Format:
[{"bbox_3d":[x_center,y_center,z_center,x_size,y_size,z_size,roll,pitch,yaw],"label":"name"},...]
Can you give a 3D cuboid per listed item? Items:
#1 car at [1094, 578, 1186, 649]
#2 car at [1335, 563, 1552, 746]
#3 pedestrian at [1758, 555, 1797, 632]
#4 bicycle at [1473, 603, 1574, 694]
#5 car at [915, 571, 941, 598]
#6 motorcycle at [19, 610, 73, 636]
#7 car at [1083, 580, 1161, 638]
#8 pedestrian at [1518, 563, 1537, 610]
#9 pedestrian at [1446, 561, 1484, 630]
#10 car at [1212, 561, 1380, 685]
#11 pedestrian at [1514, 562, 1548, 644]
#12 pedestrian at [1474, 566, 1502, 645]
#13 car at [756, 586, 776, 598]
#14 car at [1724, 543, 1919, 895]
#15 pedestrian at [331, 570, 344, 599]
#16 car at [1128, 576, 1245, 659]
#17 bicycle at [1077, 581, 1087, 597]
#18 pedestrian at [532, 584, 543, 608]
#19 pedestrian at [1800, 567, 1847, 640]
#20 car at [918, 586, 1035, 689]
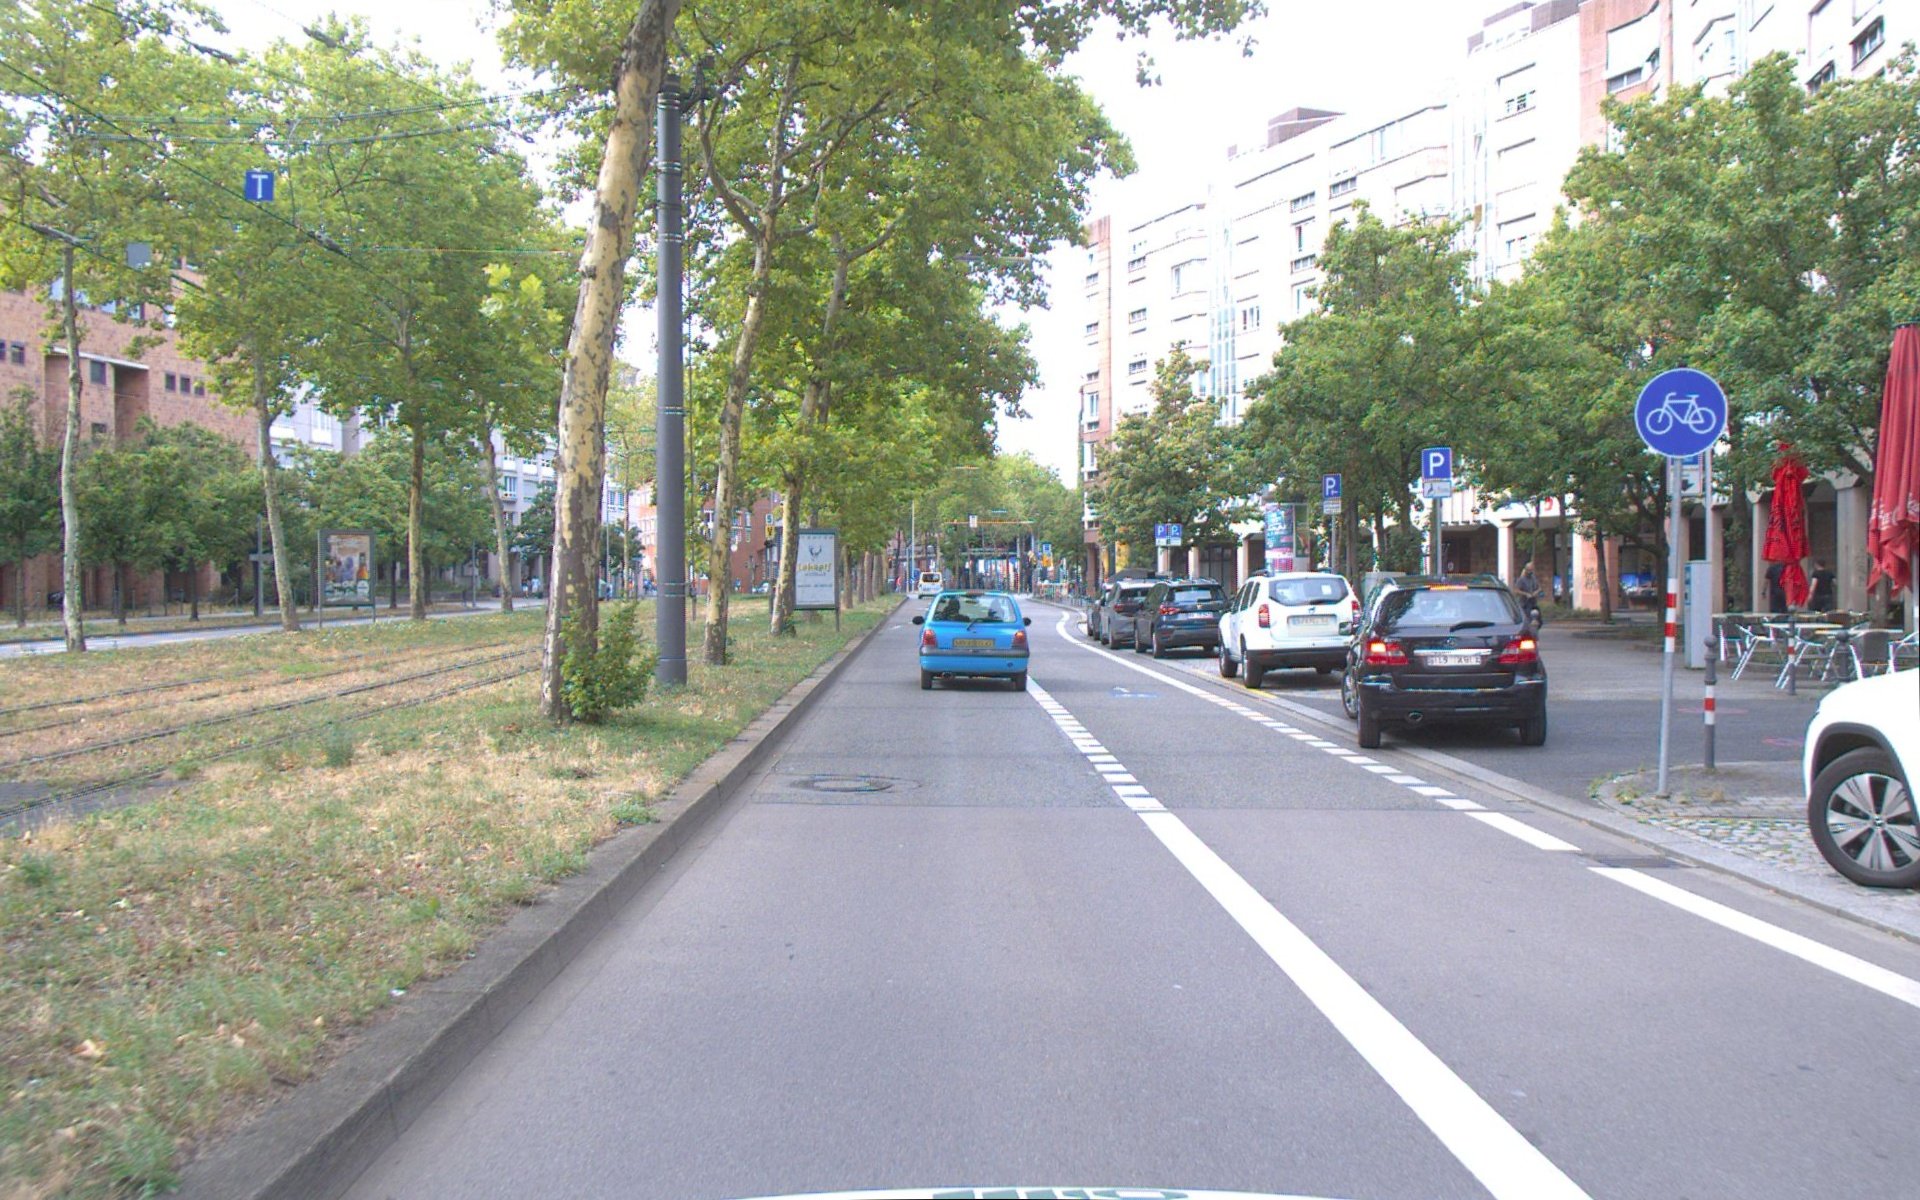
[{"bbox_3d":[4.249,0.278,39.511,1.704,1.545,4.401,-2,1,0],"label":"car"},{"bbox_3d":[4.880,0.464,17.195,1.737,1.604,4.309,-2,1,11],"label":"car"},{"bbox_3d":[18.021,-0.141,36.476,0.592,1.691,0.682,0,0,9],"label":"pedestrian"},{"bbox_3d":[7.020,0.580,20.678,0.593,1.047,1.865,-1,1,-1],"label":"bicycle"},{"bbox_3d":[-2.411,-1.205,123.780,1.892,1.959,4.955,0,1,-1],"label":"car"},{"bbox_3d":[-43.940,1.095,79.545,2.161,1.212,0.791,-1,0,-24],"label":"motorcycle"},{"bbox_3d":[4.413,0.198,45.573,1.779,1.468,4.667,-2,1,2],"label":"car"},{"bbox_3d":[20.534,-0.481,59.881,0.521,1.691,0.852,0,0,11],"label":"pedestrian"},{"bbox_3d":[11.770,-0.103,38.569,0.729,1.597,0.765,0,1,9],"label":"pedestrian"},{"bbox_3d":[5.022,0.289,25.210,1.822,1.682,4.165,-2,1,2],"label":"car"},{"bbox_3d":[11.272,0.049,32.654,0.506,1.597,0.478,0,0,35],"label":"pedestrian"},{"bbox_3d":[10.113,0.095,31.682,0.402,1.505,0.504,-1,1,6],"label":"pedestrian"},{"bbox_3d":[-20.387,-0.813,174.089,1.694,1.267,4.533,0,0,-1],"label":"car"},{"bbox_3d":[5.548,0.531,7.160,1.956,1.630,4.577,-3,1,-6],"label":"car"},{"bbox_3d":[-37.546,-0.924,99.766,0.541,1.735,0.626,0,0,4],"label":"pedestrian"},{"bbox_3d":[4.639,0.313,34.377,1.680,1.545,4.203,-2,1,-2],"label":"car"},{"bbox_3d":[8.747,-0.804,118.627,0.599,1.137,1.806,0,0,7],"label":"bicycle"},{"bbox_3d":[-30.639,-0.272,119.952,0.541,1.735,0.885,0,0,4],"label":"pedestrian"},{"bbox_3d":[18.890,0.070,36.194,0.695,1.582,0.800,-1,1,12],"label":"pedestrian"},{"bbox_3d":[0.221,0.502,24.808,1.607,1.410,3.843,0,1,0],"label":"car"}]
